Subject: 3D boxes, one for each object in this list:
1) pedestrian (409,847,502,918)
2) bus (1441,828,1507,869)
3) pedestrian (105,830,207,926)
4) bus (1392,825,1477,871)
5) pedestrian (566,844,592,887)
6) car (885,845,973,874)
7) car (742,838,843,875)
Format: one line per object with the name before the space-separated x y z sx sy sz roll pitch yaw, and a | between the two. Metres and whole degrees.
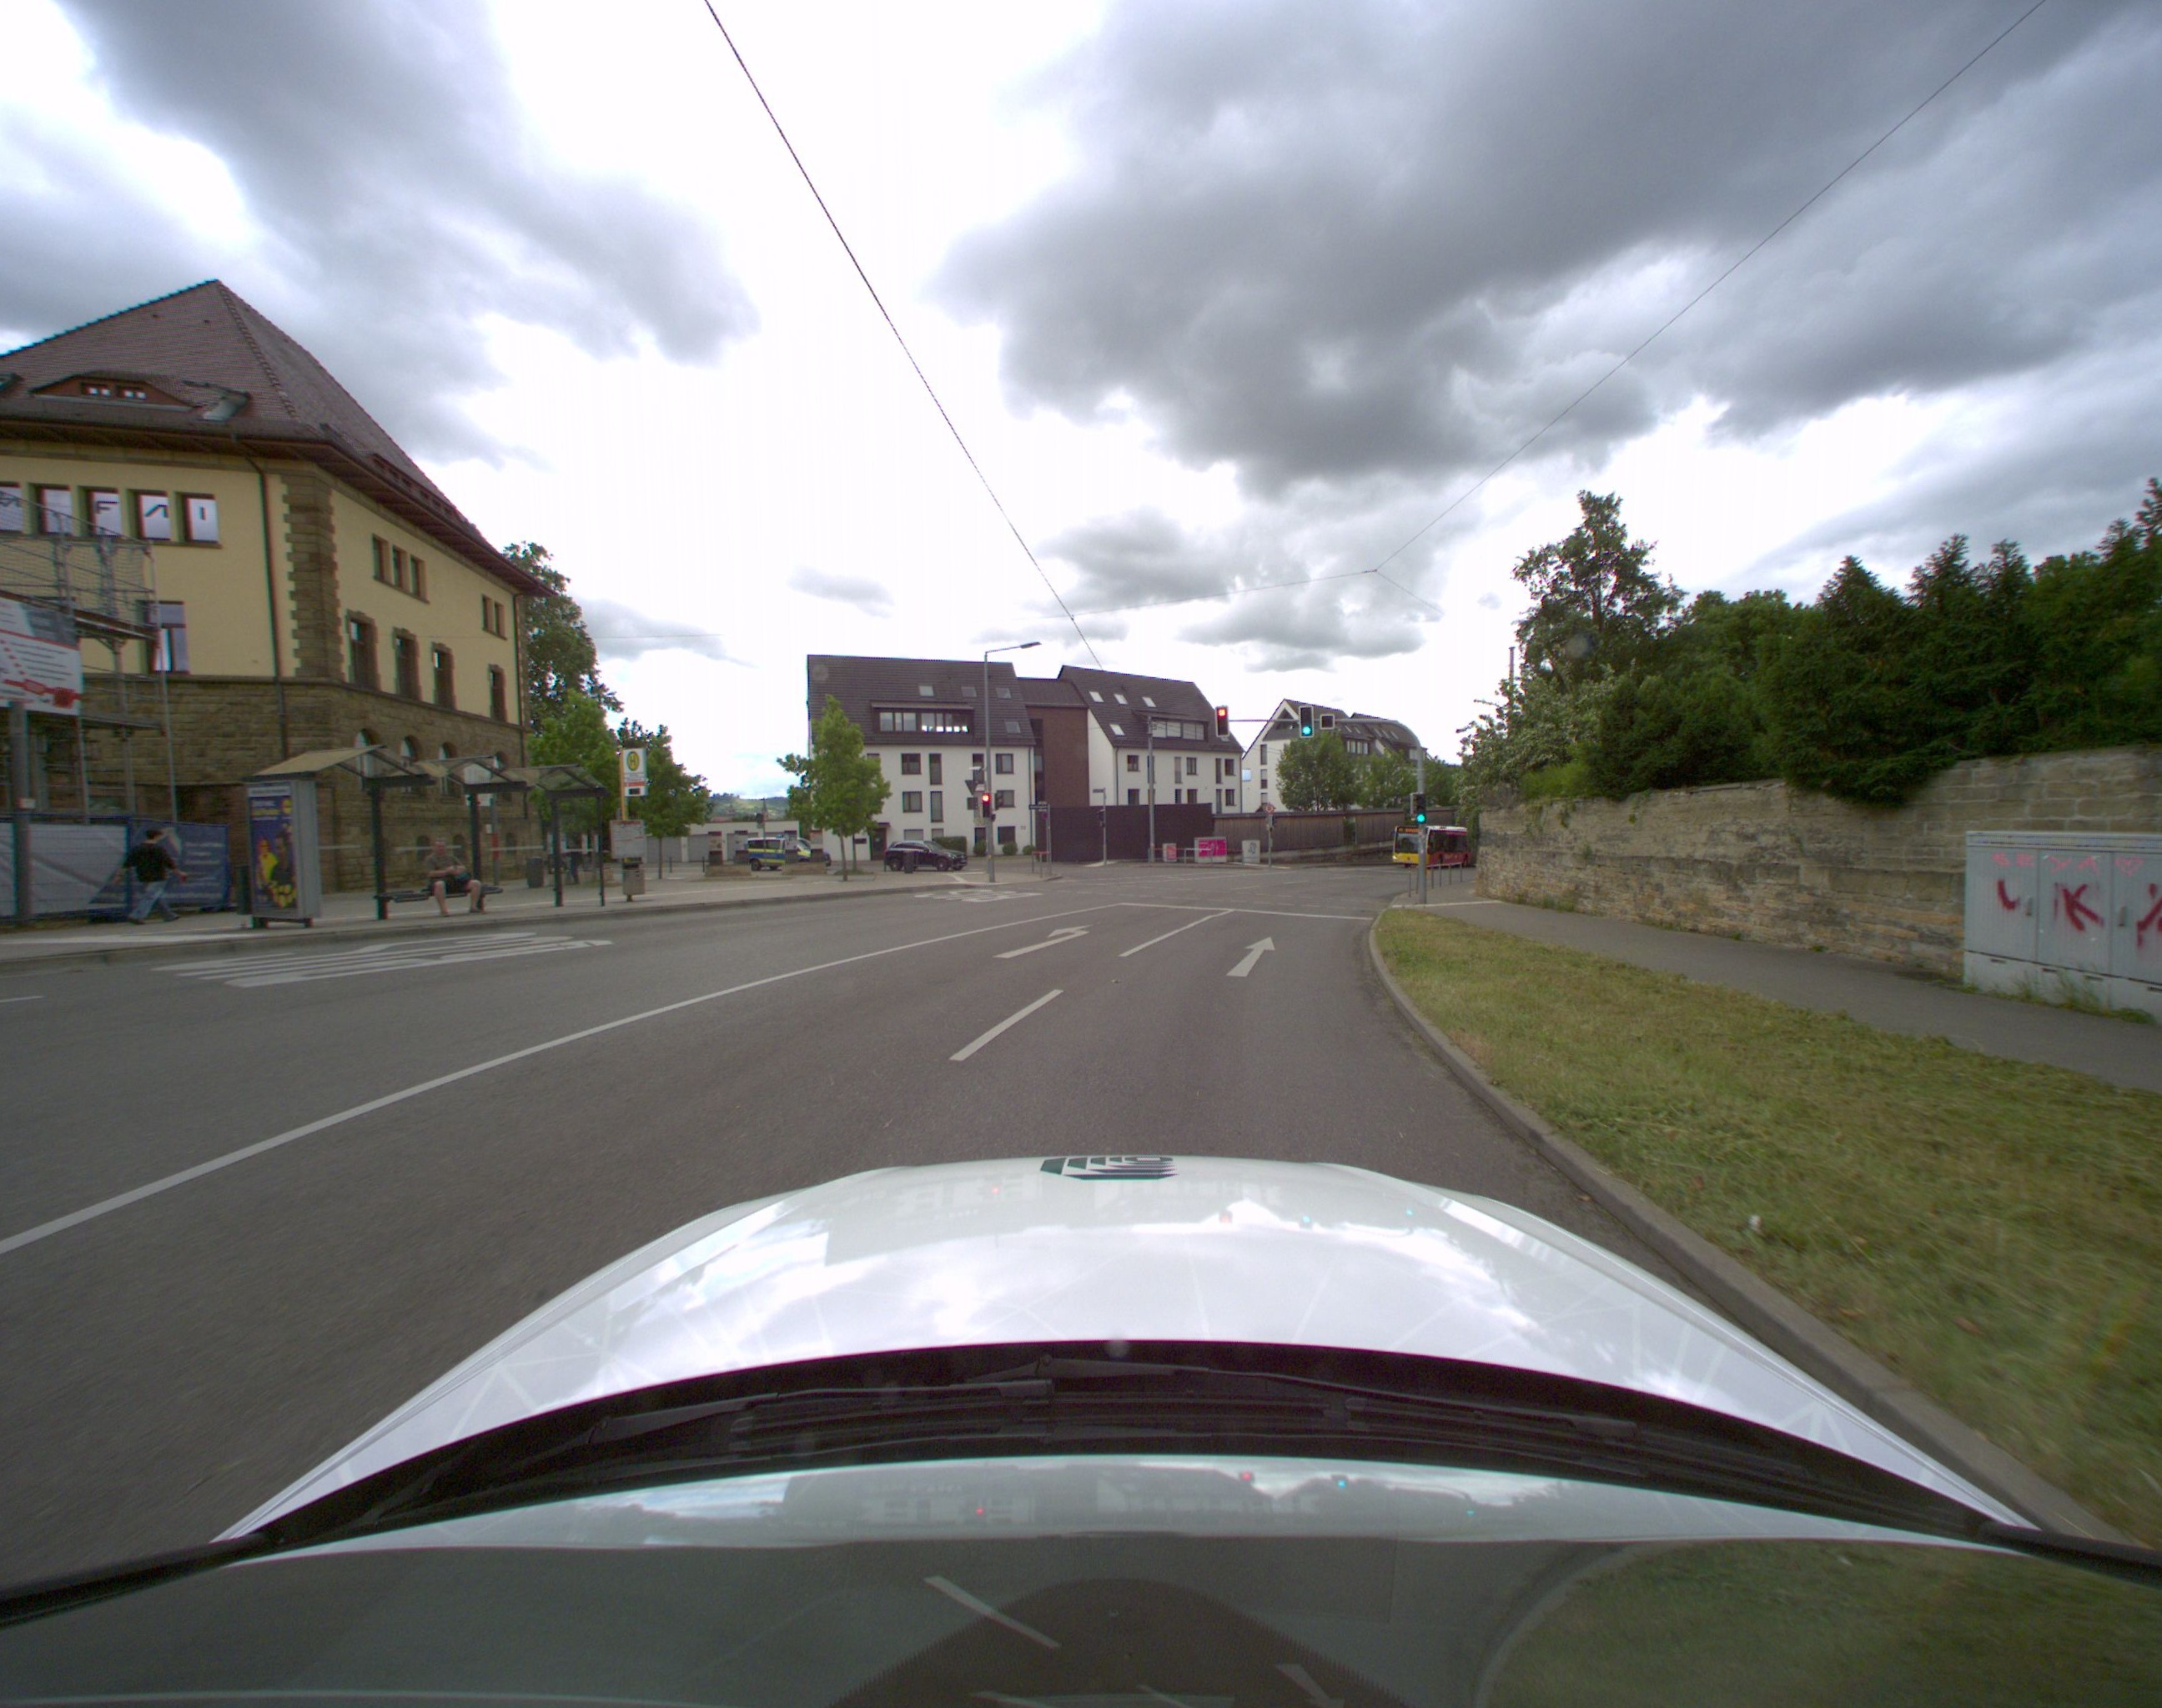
pedestrian | -11.077 0.488 14.441 0.925 1.192 0.909 -3 -1 15
bus | 32.555 -0.455 67.282 2.633 3.121 8.343 3 2 42
pedestrian | -16.986 0.426 14.984 0.923 1.720 0.796 0 0 -10
bus | 26.371 -0.437 60.449 2.633 3.121 10.080 3 2 42
pedestrian | -18.618 0.427 30.190 0.536 1.577 0.653 0 0 2
car | -8.226 0.296 44.059 4.224 1.513 2.010 0 0 19
car | -16.408 0.133 46.447 5.042 2.013 2.006 0 0 10
